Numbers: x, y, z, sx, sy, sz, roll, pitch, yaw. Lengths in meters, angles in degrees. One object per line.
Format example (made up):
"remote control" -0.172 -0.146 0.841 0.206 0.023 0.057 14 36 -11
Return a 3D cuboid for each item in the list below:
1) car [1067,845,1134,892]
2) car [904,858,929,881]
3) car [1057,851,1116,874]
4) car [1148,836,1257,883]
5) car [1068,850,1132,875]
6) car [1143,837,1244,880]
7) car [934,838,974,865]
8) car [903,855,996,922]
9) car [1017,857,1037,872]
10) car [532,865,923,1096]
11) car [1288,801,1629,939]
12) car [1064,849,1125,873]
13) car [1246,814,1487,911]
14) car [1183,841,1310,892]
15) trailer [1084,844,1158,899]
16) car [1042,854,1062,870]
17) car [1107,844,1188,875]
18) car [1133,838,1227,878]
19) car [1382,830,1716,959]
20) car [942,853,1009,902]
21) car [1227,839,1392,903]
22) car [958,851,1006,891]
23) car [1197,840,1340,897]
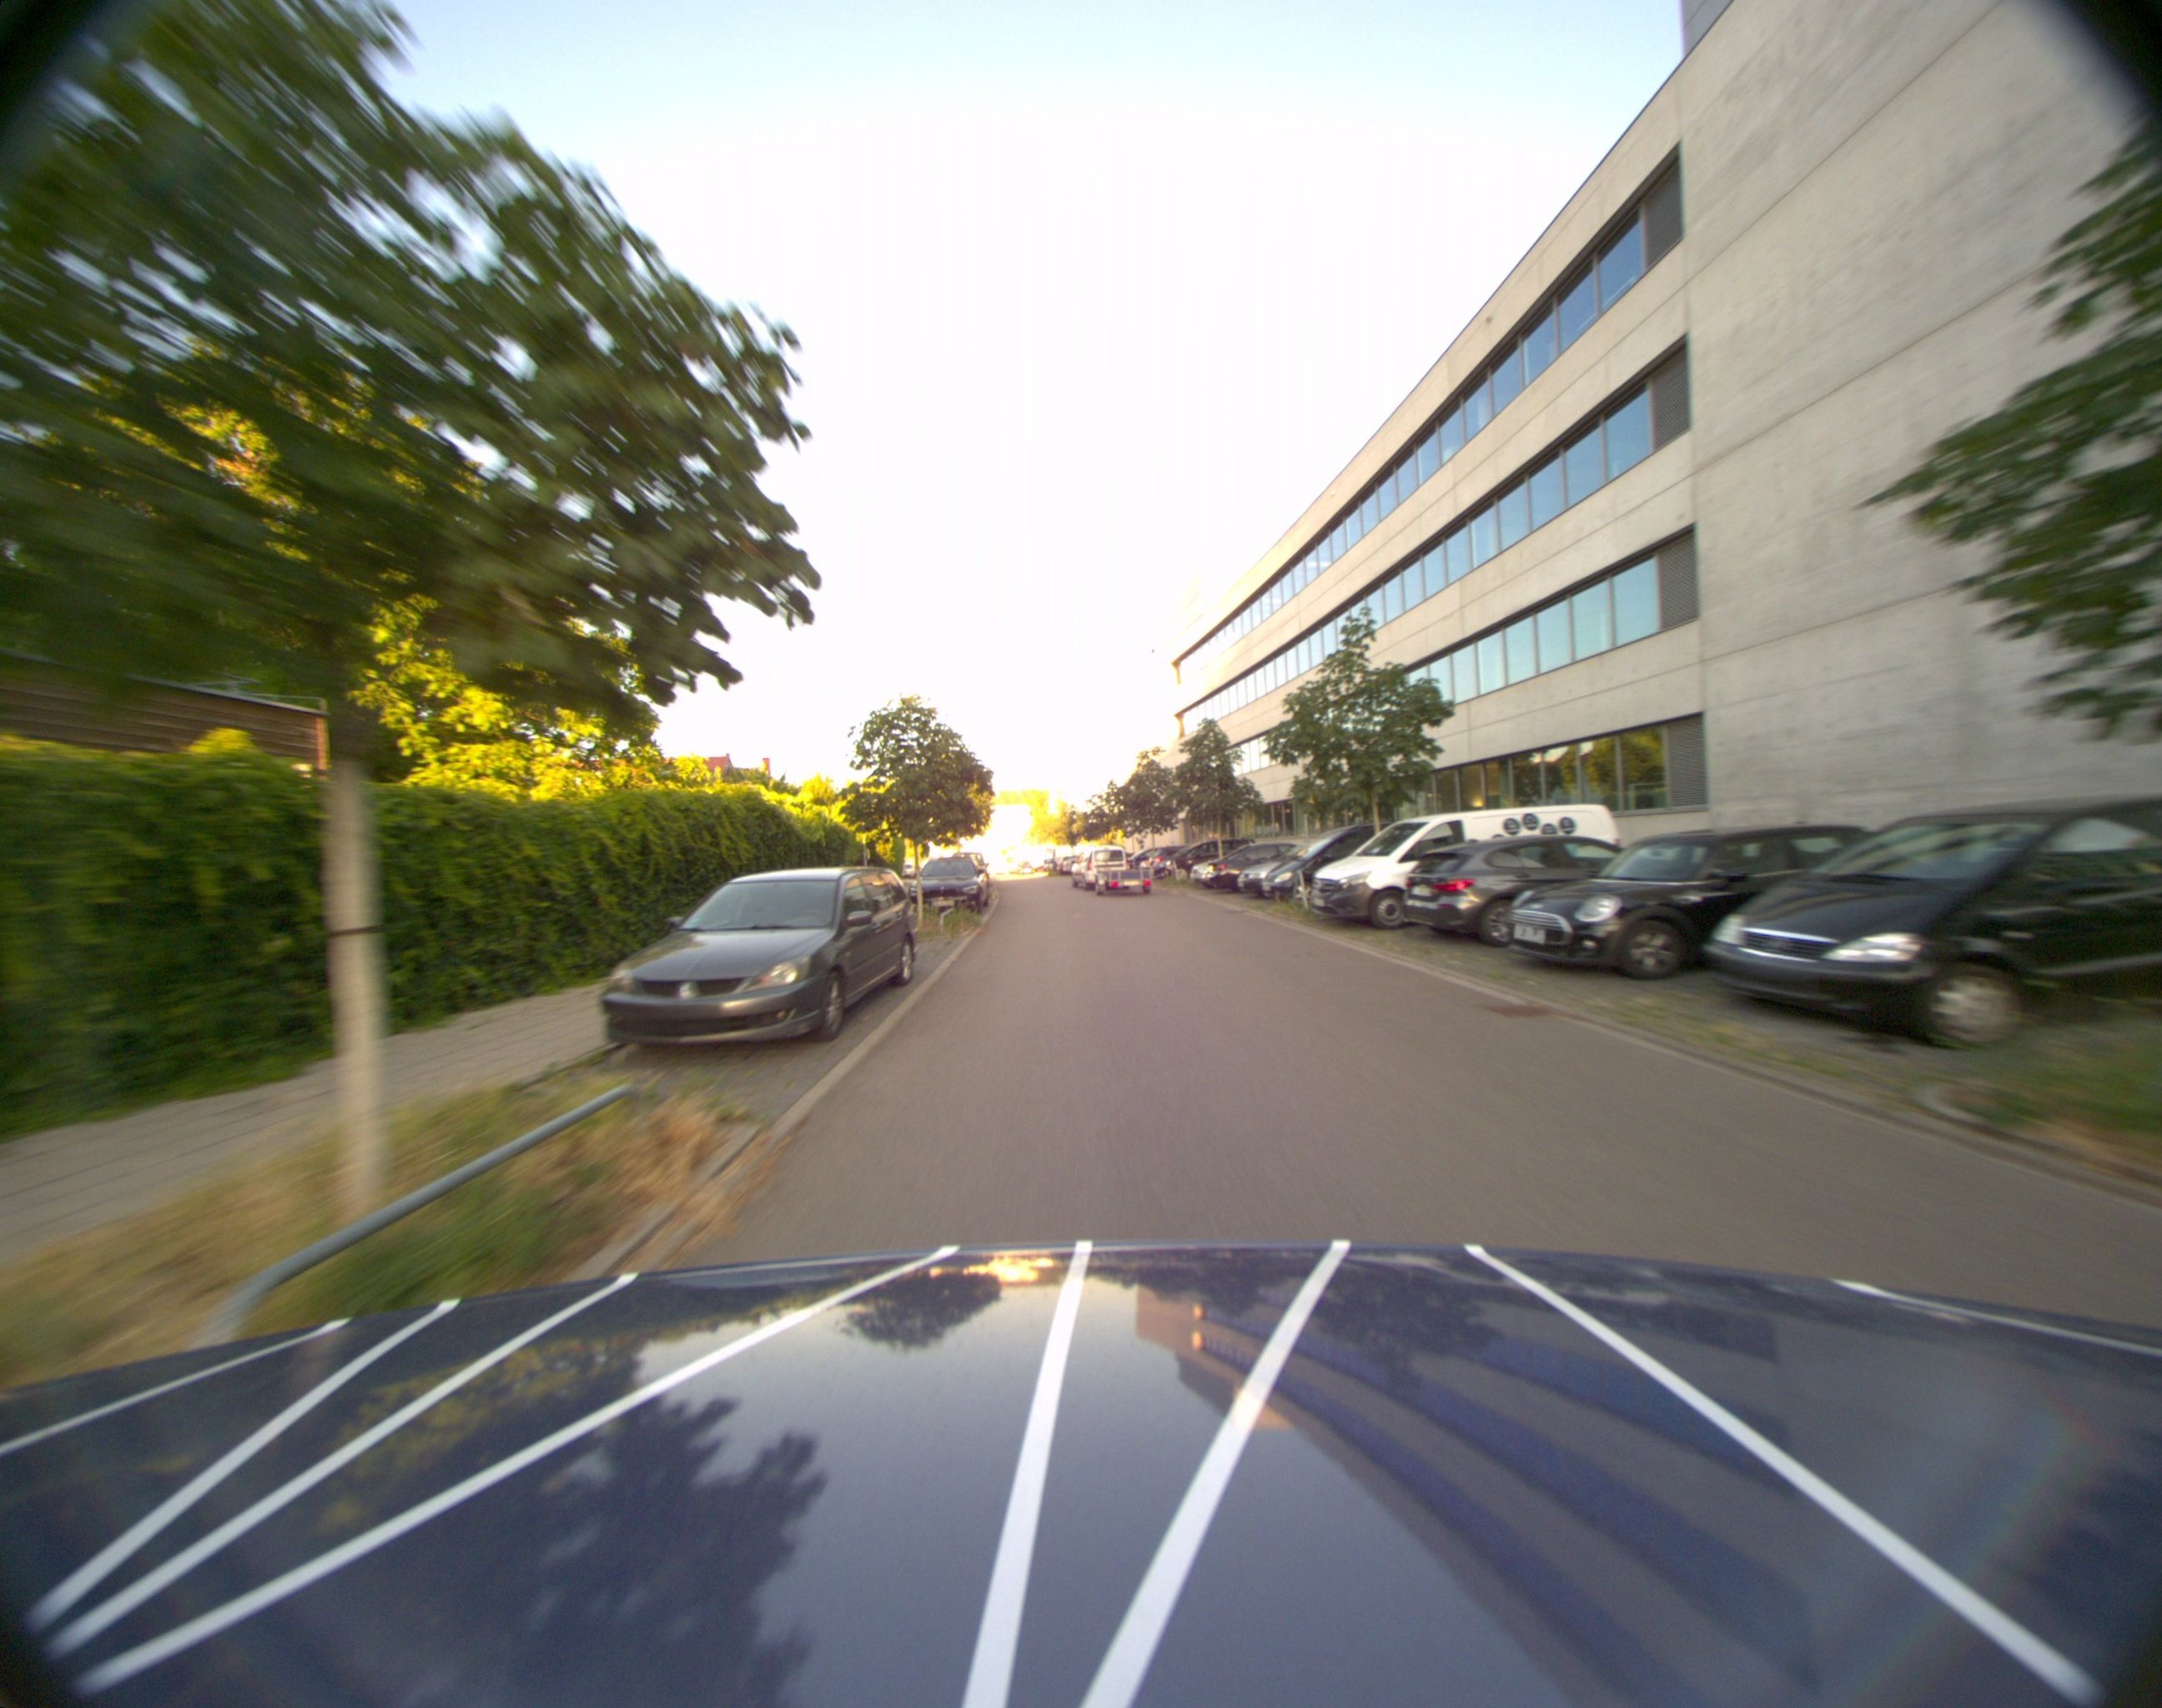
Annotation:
"car" 0.653 0.544 29.718 1.764 1.611 4.775 -3 0 -9
"car" -16.778 1.558 77.448 2.253 2.161 5.145 -3 0 -14
"car" 0.373 0.625 56.522 4.028 1.340 1.798 -5 1 -9
"car" 5.008 0.229 31.541 4.028 1.574 1.798 -5 1 -9
"car" 1.269 0.548 51.905 4.028 1.340 1.798 -5 1 -9
"car" 5.049 0.194 34.376 4.028 1.574 1.798 -5 1 -9
"car" -7.429 -0.135 44.782 1.770 1.454 4.367 -2 0 -2
"car" -3.263 0.795 19.677 1.770 1.454 4.367 -2 0 -2
"car" -5.359 1.035 75.865 1.798 1.340 4.027 -5 0 -3
"car" -2.910 0.917 7.464 1.680 1.454 4.368 -2 0 1
"car" 6.583 0.251 13.598 5.083 1.870 1.888 -5 1 -3
"car" 0.935 0.522 53.986 4.028 1.340 1.798 -5 1 -9
"car" 6.862 0.190 18.576 5.083 1.817 1.888 -5 1 -3
"car" 5.570 0.401 25.900 3.812 1.353 1.799 -5 1 -3
"trailer" 1.260 0.545 25.471 1.700 1.611 3.761 -3 0 -9
"car" -2.964 0.777 76.764 1.798 1.442 4.027 -5 0 -3
"car" 3.606 0.280 41.508 4.028 1.340 1.798 -5 1 -9
"car" 4.721 0.182 36.600 4.028 1.574 1.798 -5 1 -9
"car" 6.537 0.535 10.925 3.654 1.416 1.725 -5 1 1
"car" -3.495 0.735 25.829 1.770 1.454 4.367 -2 0 -2
"car" 6.127 0.433 20.654 3.812 1.353 1.799 -5 1 -3
"car" -4.058 0.635 31.355 1.771 1.454 4.365 -2 0 -7
"car" 5.713 0.429 23.439 3.812 1.353 1.799 -5 1 -3
